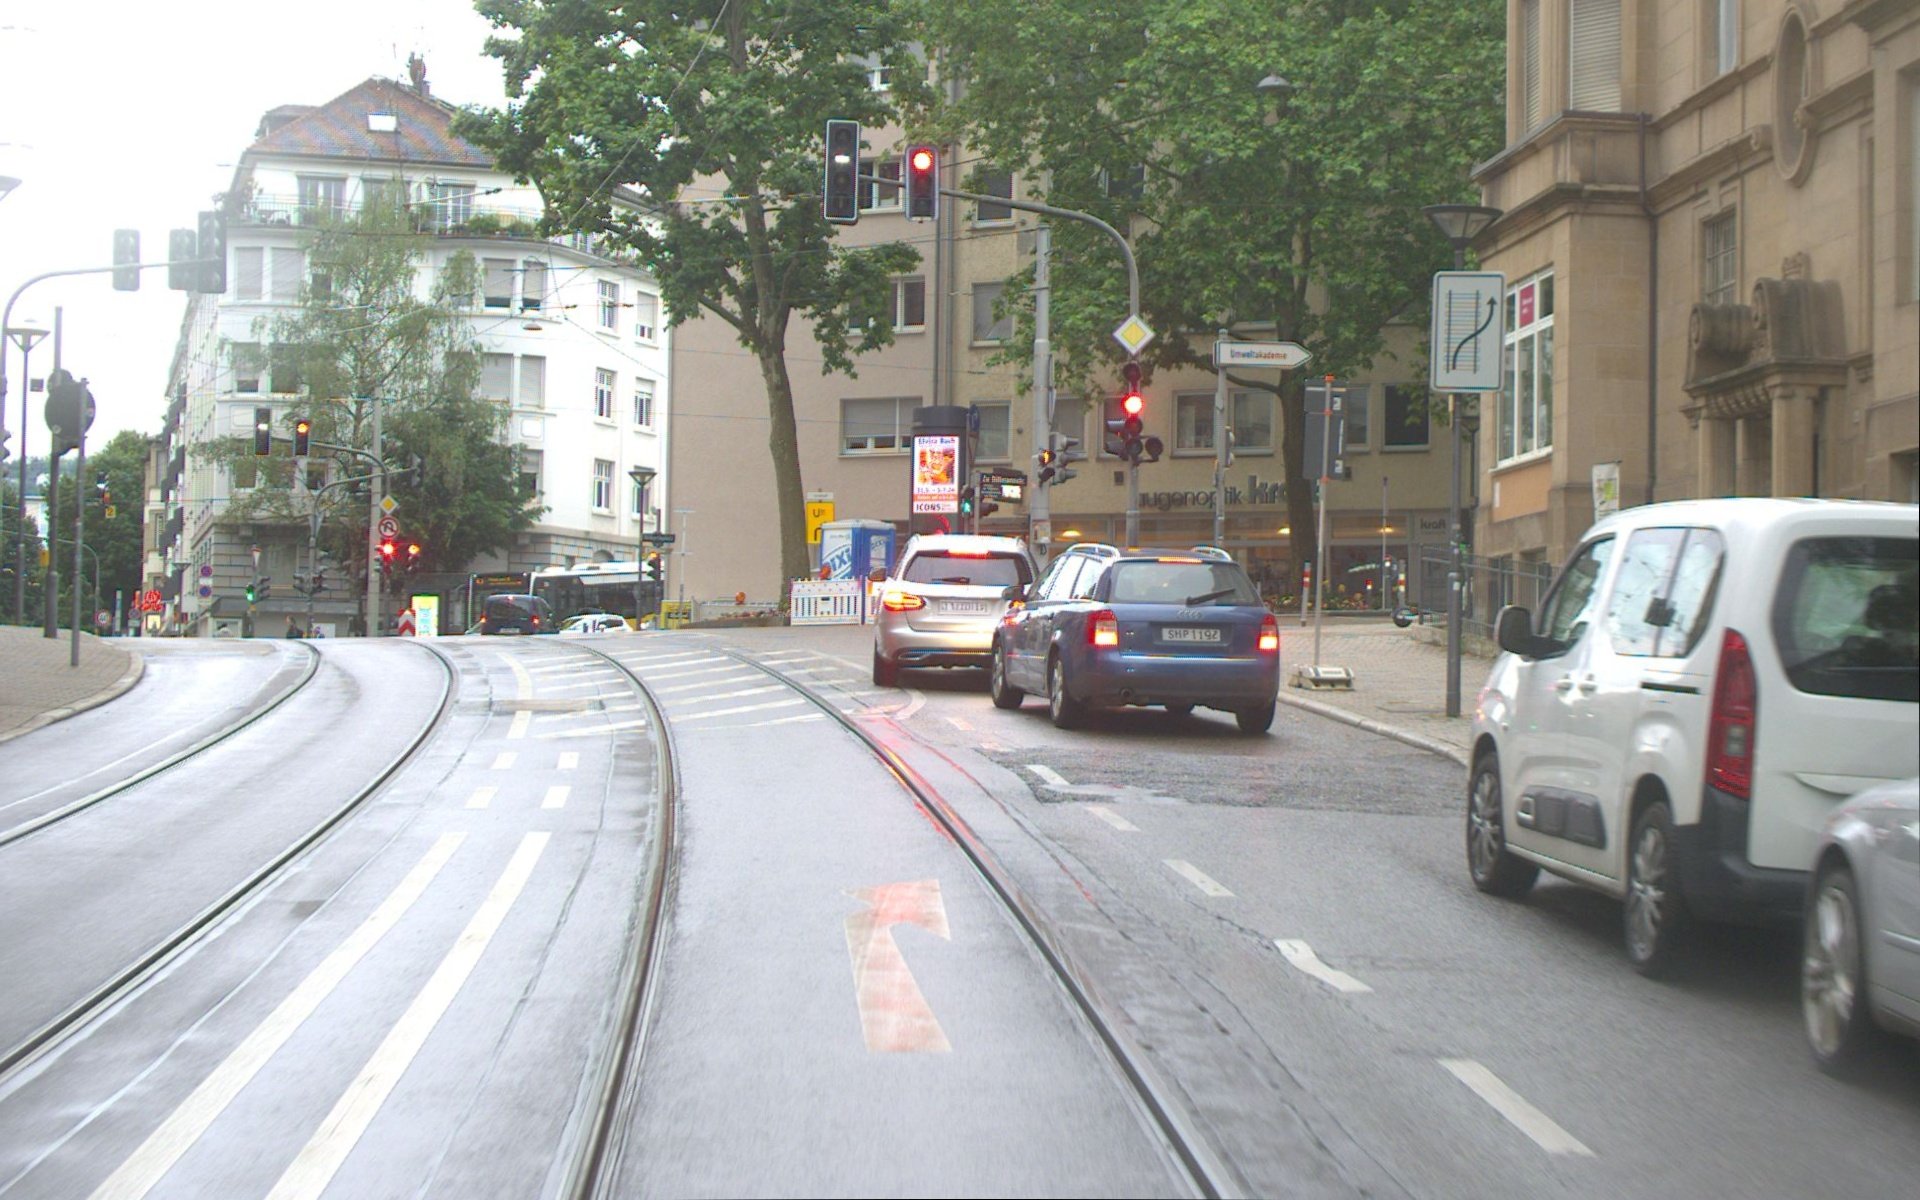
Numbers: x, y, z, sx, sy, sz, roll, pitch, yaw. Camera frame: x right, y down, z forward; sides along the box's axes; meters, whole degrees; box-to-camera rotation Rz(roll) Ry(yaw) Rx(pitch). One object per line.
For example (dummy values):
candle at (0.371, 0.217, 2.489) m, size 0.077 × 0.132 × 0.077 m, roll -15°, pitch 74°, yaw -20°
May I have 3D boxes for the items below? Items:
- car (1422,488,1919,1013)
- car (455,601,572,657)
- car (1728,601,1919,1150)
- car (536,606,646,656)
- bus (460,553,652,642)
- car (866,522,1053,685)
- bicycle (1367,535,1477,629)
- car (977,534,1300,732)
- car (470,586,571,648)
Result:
car at (3.268, 0.496, 14.043) m, size 1.797 × 1.759 × 4.464 m, roll 3°, pitch 1°, yaw -4°
car at (-13.845, 0.884, 106.733) m, size 1.796 × 1.609 × 3.995 m, roll 1°, pitch 1°, yaw 24°
car at (3.428, 0.795, 8.720) m, size 1.748 × 1.396 × 4.479 m, roll 3°, pitch 1°, yaw -2°
car at (-11.975, 0.986, 111.734) m, size 1.796 × 1.505 × 3.995 m, roll 1°, pitch 1°, yaw 24°
bus at (-13.731, -0.130, 117.715) m, size 2.857 × 2.851 × 8.724 m, roll 1°, pitch 1°, yaw 20°
car at (-0.043, -0.006, 33.994) m, size 1.710 × 1.451 × 3.553 m, roll 2°, pitch 1°, yaw -1°
bicycle at (5.948, -0.234, 44.273) m, size 1.300 × 1.169 × 0.526 m, roll -1°, pitch 1°, yaw -6°
car at (1.375, 0.219, 28.125) m, size 1.710 × 1.410 × 4.038 m, roll 2°, pitch 2°, yaw -10°
car at (-11.578, 0.433, 90.740) m, size 1.794 × 1.505 × 3.999 m, roll -2°, pitch 1°, yaw 5°
